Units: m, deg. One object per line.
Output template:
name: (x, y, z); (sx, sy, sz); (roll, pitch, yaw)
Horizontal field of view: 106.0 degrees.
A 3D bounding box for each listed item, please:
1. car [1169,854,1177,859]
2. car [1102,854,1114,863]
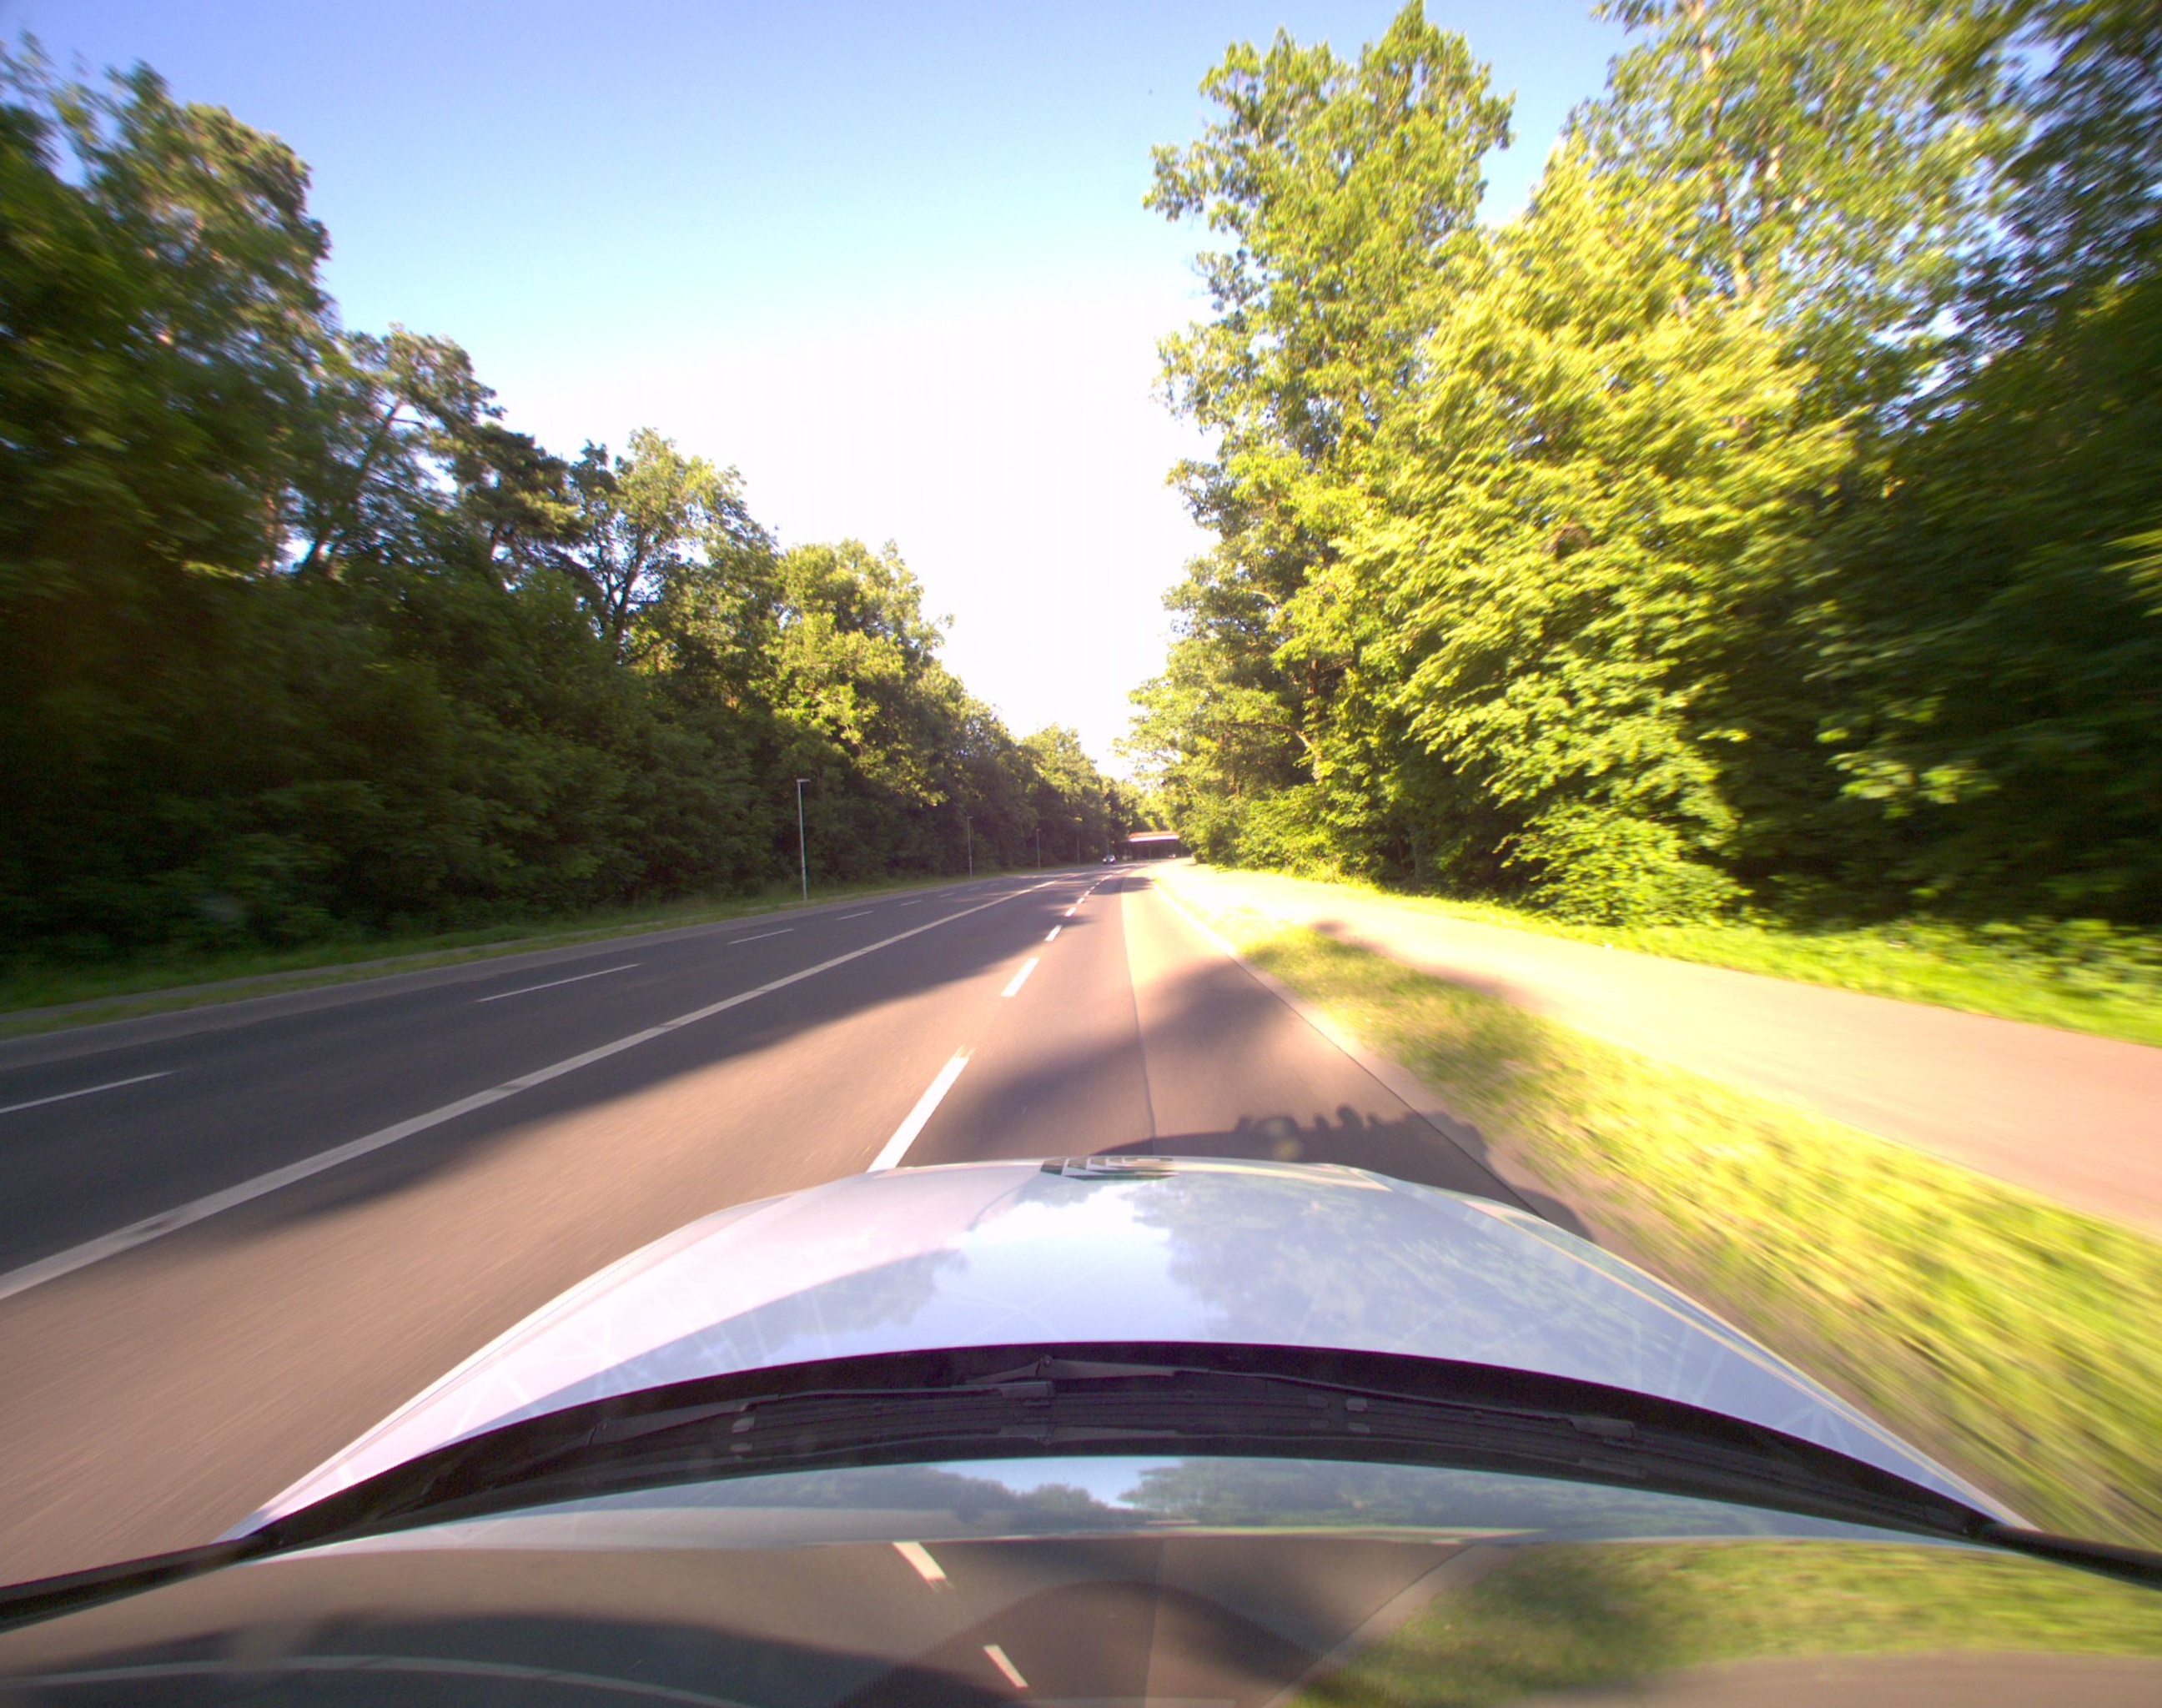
car: (29.003, 0.749, 256.761); (1.697, 1.423, 4.147); (-2, 0, 15)
car: (4.792, 0.777, 143.148); (1.799, 1.663, 4.526); (-2, 0, 4)
